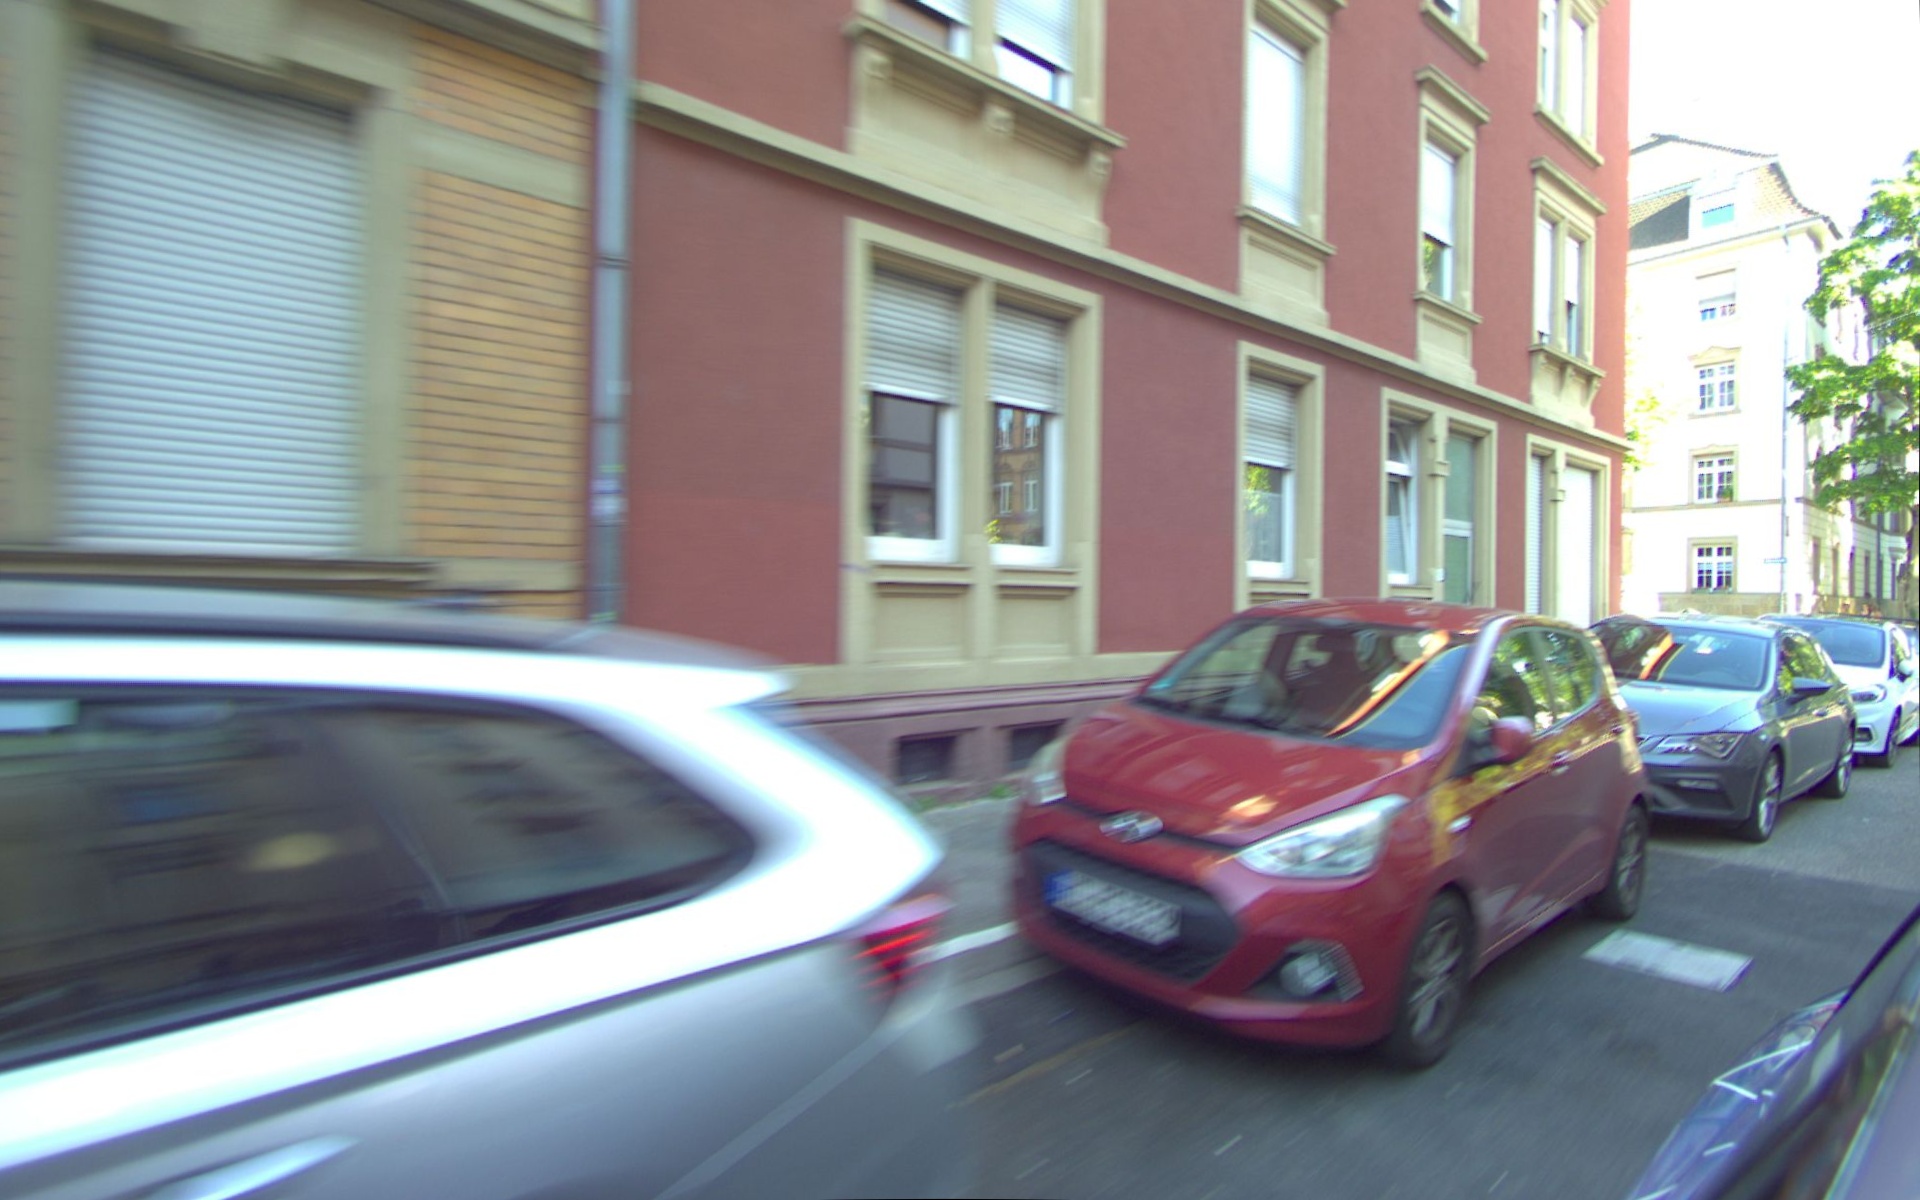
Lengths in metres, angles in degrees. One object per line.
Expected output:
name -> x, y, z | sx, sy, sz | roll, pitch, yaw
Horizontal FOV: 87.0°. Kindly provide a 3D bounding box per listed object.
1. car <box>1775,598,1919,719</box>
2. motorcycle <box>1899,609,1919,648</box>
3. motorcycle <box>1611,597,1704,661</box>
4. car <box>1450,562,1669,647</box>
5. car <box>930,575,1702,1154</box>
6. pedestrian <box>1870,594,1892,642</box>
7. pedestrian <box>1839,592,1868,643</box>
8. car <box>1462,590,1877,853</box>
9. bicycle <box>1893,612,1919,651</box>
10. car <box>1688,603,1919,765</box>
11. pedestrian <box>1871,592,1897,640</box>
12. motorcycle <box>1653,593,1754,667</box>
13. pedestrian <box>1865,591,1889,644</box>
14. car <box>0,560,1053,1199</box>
car -> 13.128, 0.748, 14.507 | 3.642, 1.501, 1.671 | 1, 1, -42
motorcycle -> 31.541, 0.988, 32.561 | 0.667, 1.227, 1.853 | 3, 2, -43
motorcycle -> 16.461, 0.664, 23.868 | 2.493, 1.422, 0.872 | 1, 1, -32
car -> 19.244, 0.054, 32.818 | 2.260, 2.498, 5.671 | 1, 1, -31
car -> 1.903, 0.694, 4.616 | 3.956, 1.498, 1.661 | 1, 1, -43
pedestrian -> 36.446, 0.717, 40.042 | 0.694, 1.868, 0.529 | 1, 0, -40
pedestrian -> 30.375, 0.578, 34.411 | 0.804, 1.706, 0.624 | 1, 0, -41
car -> 5.672, 0.731, 7.901 | 3.996, 1.522, 1.680 | 1, 0, -40
bicycle -> 30.831, 1.037, 32.078 | 0.424, 1.176, 1.802 | 1, 2, -24
car -> 9.821, 0.800, 11.445 | 3.900, 1.481, 1.708 | 1, 1, -41
pedestrian -> 37.045, 0.641, 40.570 | 0.704, 1.868, 0.827 | 1, 0, 44
motorcycle -> 16.464, 0.666, 22.396 | 2.571, 1.544, 0.875 | 2, 0, -32
pedestrian -> 30.679, 0.572, 33.866 | 0.508, 1.740, 0.519 | 1, 0, -42
car -> -2.068, 0.683, 1.004 | 4.323, 1.502, 1.766 | 1, 1, -40
